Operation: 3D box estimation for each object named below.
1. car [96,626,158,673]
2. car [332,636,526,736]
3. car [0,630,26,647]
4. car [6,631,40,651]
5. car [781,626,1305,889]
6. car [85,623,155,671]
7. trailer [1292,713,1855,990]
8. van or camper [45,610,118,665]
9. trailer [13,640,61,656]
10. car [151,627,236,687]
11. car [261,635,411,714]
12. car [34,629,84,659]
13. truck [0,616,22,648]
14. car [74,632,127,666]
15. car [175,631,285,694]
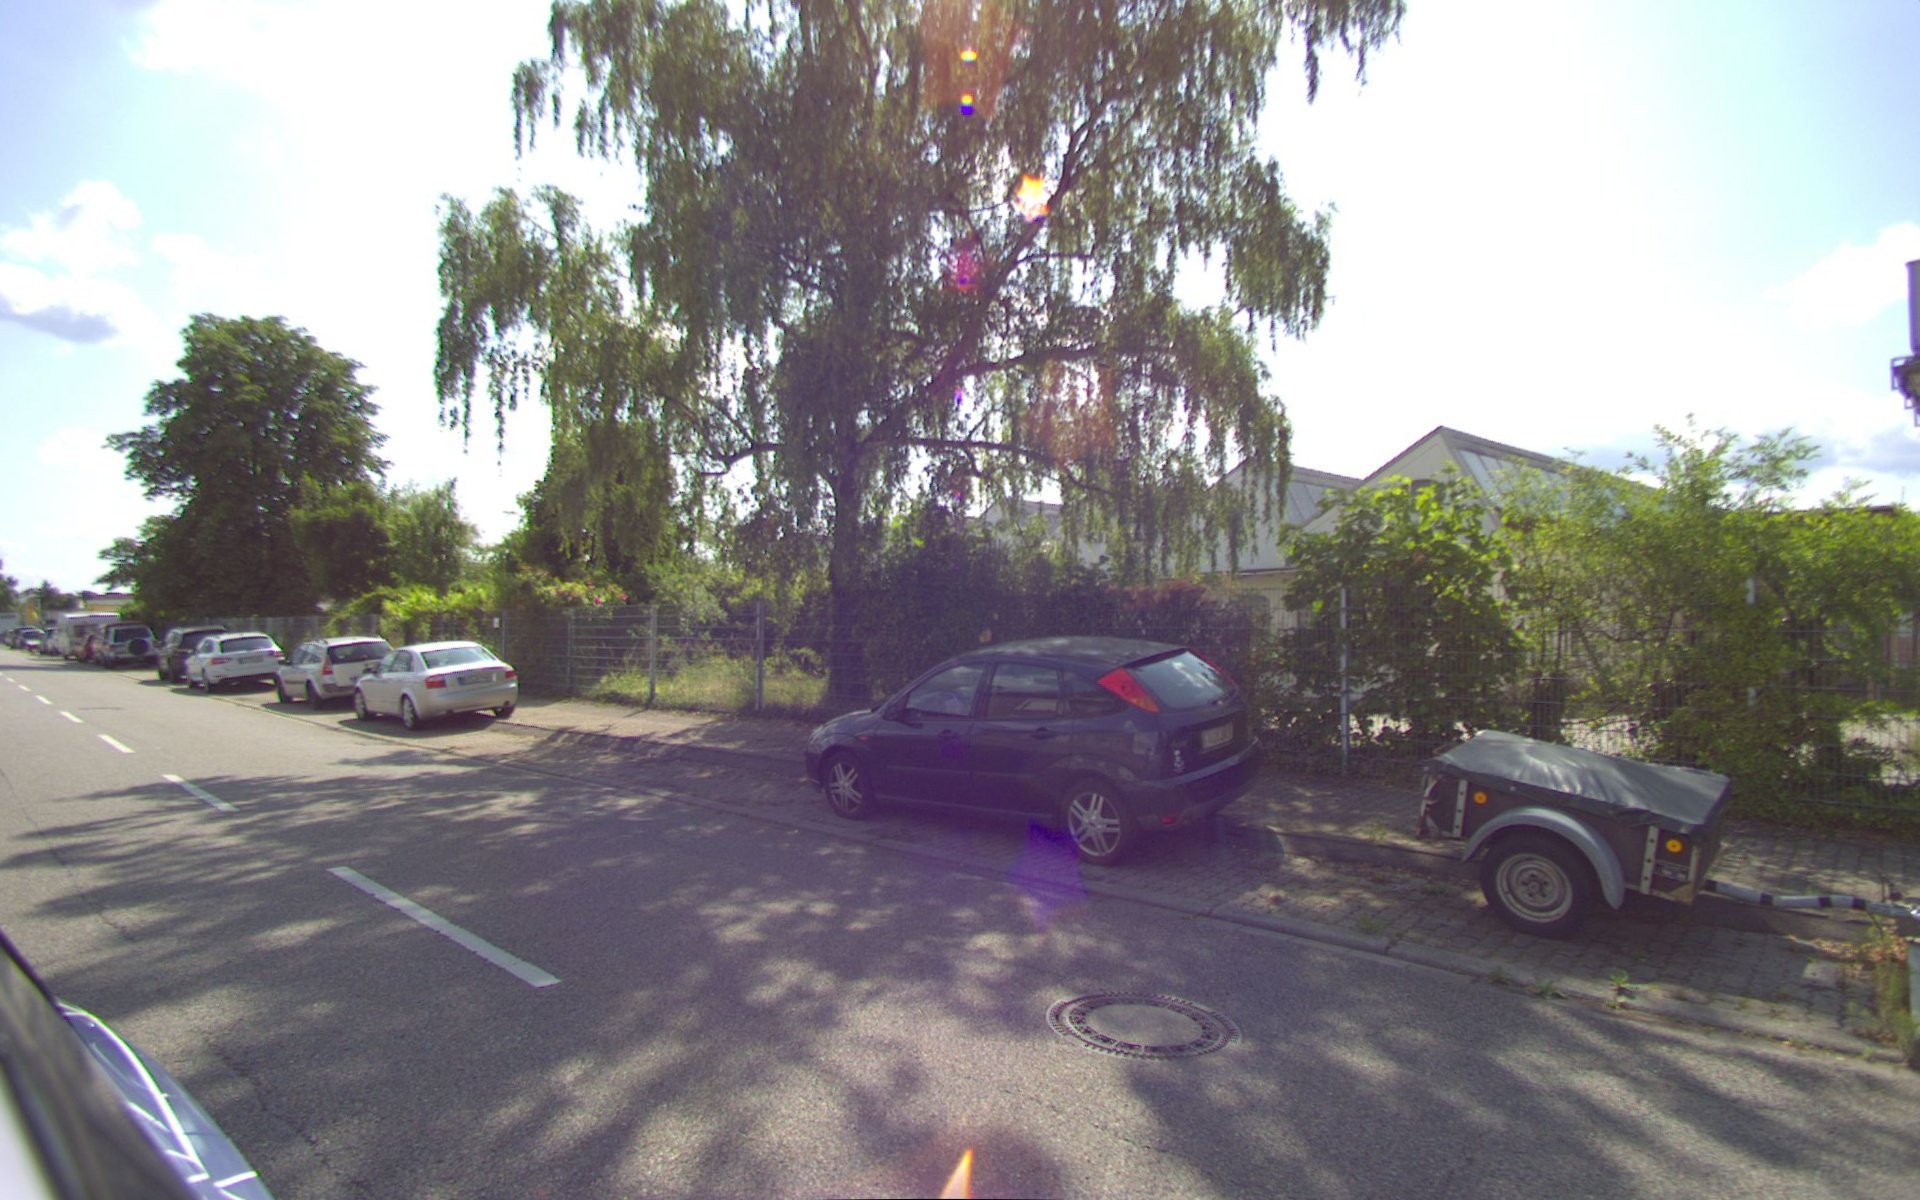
[{"bbox_3d":[-35.208,2.041,42.760,1.680,1.815,3.829,-2,0,-44],"label":"car"},{"bbox_3d":[-9.890,1.481,18.667,4.631,1.488,1.705,-2,1,43],"label":"car"},{"bbox_3d":[-85.931,3.510,91.824,3.710,1.495,1.597,-2,-1,44],"label":"car"},{"bbox_3d":[-72.848,3.151,78.674,4.200,1.524,1.560,-1,-2,42],"label":"car"},{"bbox_3d":[0.481,1.038,8.364,4.158,1.523,1.664,-1,1,43],"label":"car"},{"bbox_3d":[-39.565,2.149,47.618,4.959,1.969,1.877,-1,3,44],"label":"car"},{"bbox_3d":[3.394,1.241,5.759,2.468,0.857,1.448,-1,2,45],"label":"trailer"},{"bbox_3d":[-49.201,2.044,56.623,6.833,2.824,2.238,-1,1,43],"label":"van or camper"},{"bbox_3d":[-66.498,3.428,72.890,2.245,0.889,7.136,-4,2,-45],"label":"trailer"},{"bbox_3d":[-24.631,1.773,32.459,1.592,1.758,4.639,0,-1,-44],"label":"car"},{"bbox_3d":[-14.186,1.586,22.885,4.660,1.539,1.774,-2,-1,44],"label":"car"},{"bbox_3d":[-55.323,2.659,62.138,4.442,1.704,1.666,-1,1,41],"label":"car"},{"bbox_3d":[-104.994,3.551,111.252,6.907,3.387,2.226,-2,1,44],"label":"truck"},{"bbox_3d":[-44.019,2.482,51.812,4.270,1.544,1.607,-2,1,44],"label":"car"},{"bbox_3d":[-20.437,1.684,28.265,4.789,1.607,1.681,-2,-3,45],"label":"car"}]
